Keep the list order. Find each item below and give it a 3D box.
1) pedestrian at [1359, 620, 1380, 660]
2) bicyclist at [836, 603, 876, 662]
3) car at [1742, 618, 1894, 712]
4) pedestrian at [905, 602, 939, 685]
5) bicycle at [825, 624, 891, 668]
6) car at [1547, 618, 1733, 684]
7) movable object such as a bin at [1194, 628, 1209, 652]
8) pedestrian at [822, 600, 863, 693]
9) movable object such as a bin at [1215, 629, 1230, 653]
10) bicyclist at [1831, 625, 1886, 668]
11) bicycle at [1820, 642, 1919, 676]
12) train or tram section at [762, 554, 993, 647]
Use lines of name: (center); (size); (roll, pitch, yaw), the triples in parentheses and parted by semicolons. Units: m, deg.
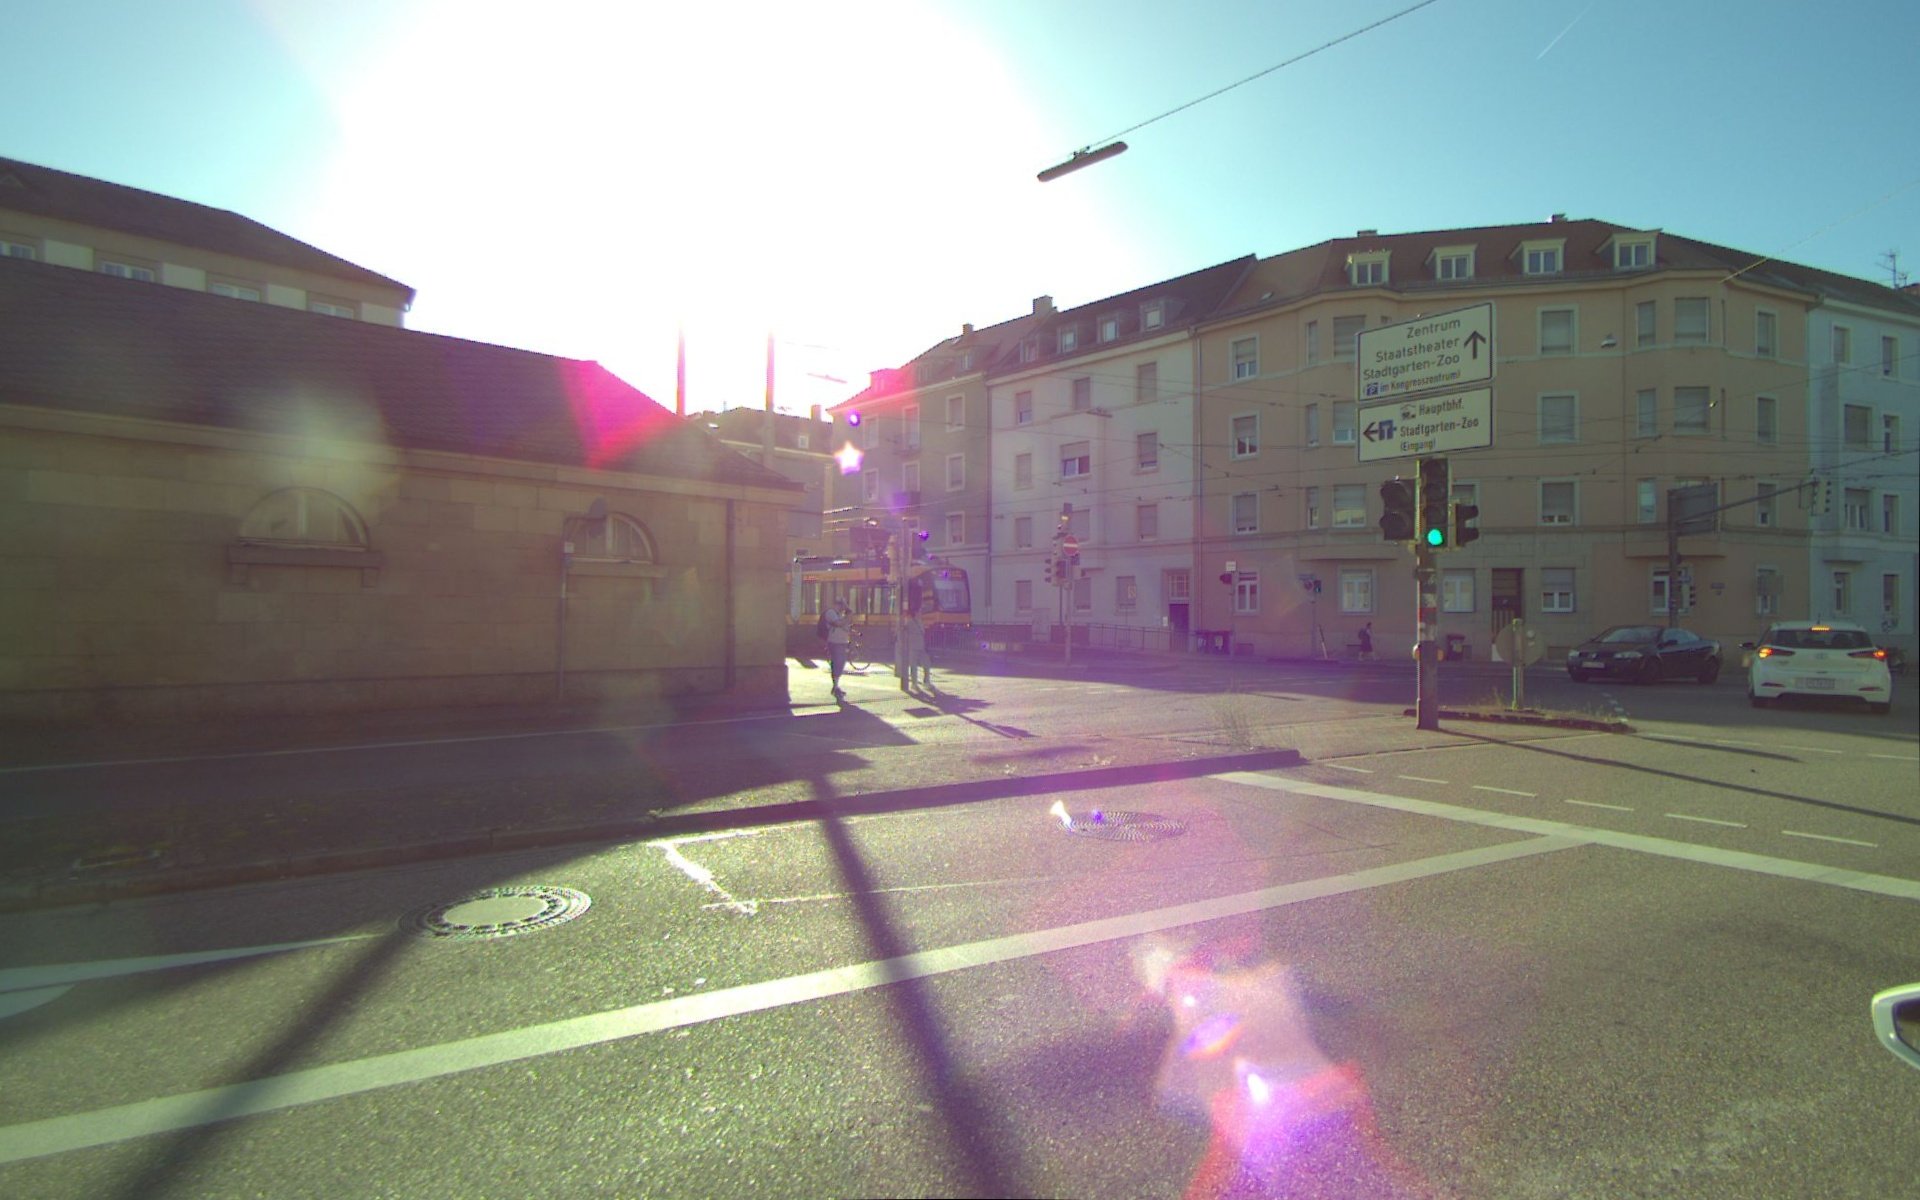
pedestrian: (16.310, 1.577, 40.024); (0.706, 1.584, 0.677); (0, -1, 19)
bicyclist: (-3.009, 0.940, 29.116); (0.926, 1.661, 0.674); (1, 0, 42)
car: (14.743, 1.044, 17.450); (1.764, 1.412, 4.089); (0, -1, 37)
pedestrian: (-0.777, 0.880, 20.430); (0.479, 1.661, 0.625); (0, -1, 20)
bicycle: (-2.954, 1.314, 29.056); (2.043, 1.151, 0.682); (1, 0, 42)
car: (16.092, 1.162, 23.734); (4.271, 1.444, 1.817); (1, -1, -27)
movable object such as a bin: (10.840, 1.799, 45.114); (0.479, 1.079, 0.445); (1, -1, -43)
pedestrian: (-2.155, 0.841, 18.401); (0.504, 1.661, 0.625); (0, -1, 20)
movable object such as a bin: (11.582, 1.790, 44.359); (0.479, 1.046, 0.445); (1, -1, -43)
bicyclist: (29.741, 1.533, 33.252); (1.129, 1.400, 0.933); (1, -1, -17)
bicycle: (30.265, 1.938, 33.416); (3.300, 1.070, 0.933); (1, -1, -18)
train or tram section: (-3.828, 0.085, 42.027); (3.145, 3.365, 11.668); (1, -1, -43)
